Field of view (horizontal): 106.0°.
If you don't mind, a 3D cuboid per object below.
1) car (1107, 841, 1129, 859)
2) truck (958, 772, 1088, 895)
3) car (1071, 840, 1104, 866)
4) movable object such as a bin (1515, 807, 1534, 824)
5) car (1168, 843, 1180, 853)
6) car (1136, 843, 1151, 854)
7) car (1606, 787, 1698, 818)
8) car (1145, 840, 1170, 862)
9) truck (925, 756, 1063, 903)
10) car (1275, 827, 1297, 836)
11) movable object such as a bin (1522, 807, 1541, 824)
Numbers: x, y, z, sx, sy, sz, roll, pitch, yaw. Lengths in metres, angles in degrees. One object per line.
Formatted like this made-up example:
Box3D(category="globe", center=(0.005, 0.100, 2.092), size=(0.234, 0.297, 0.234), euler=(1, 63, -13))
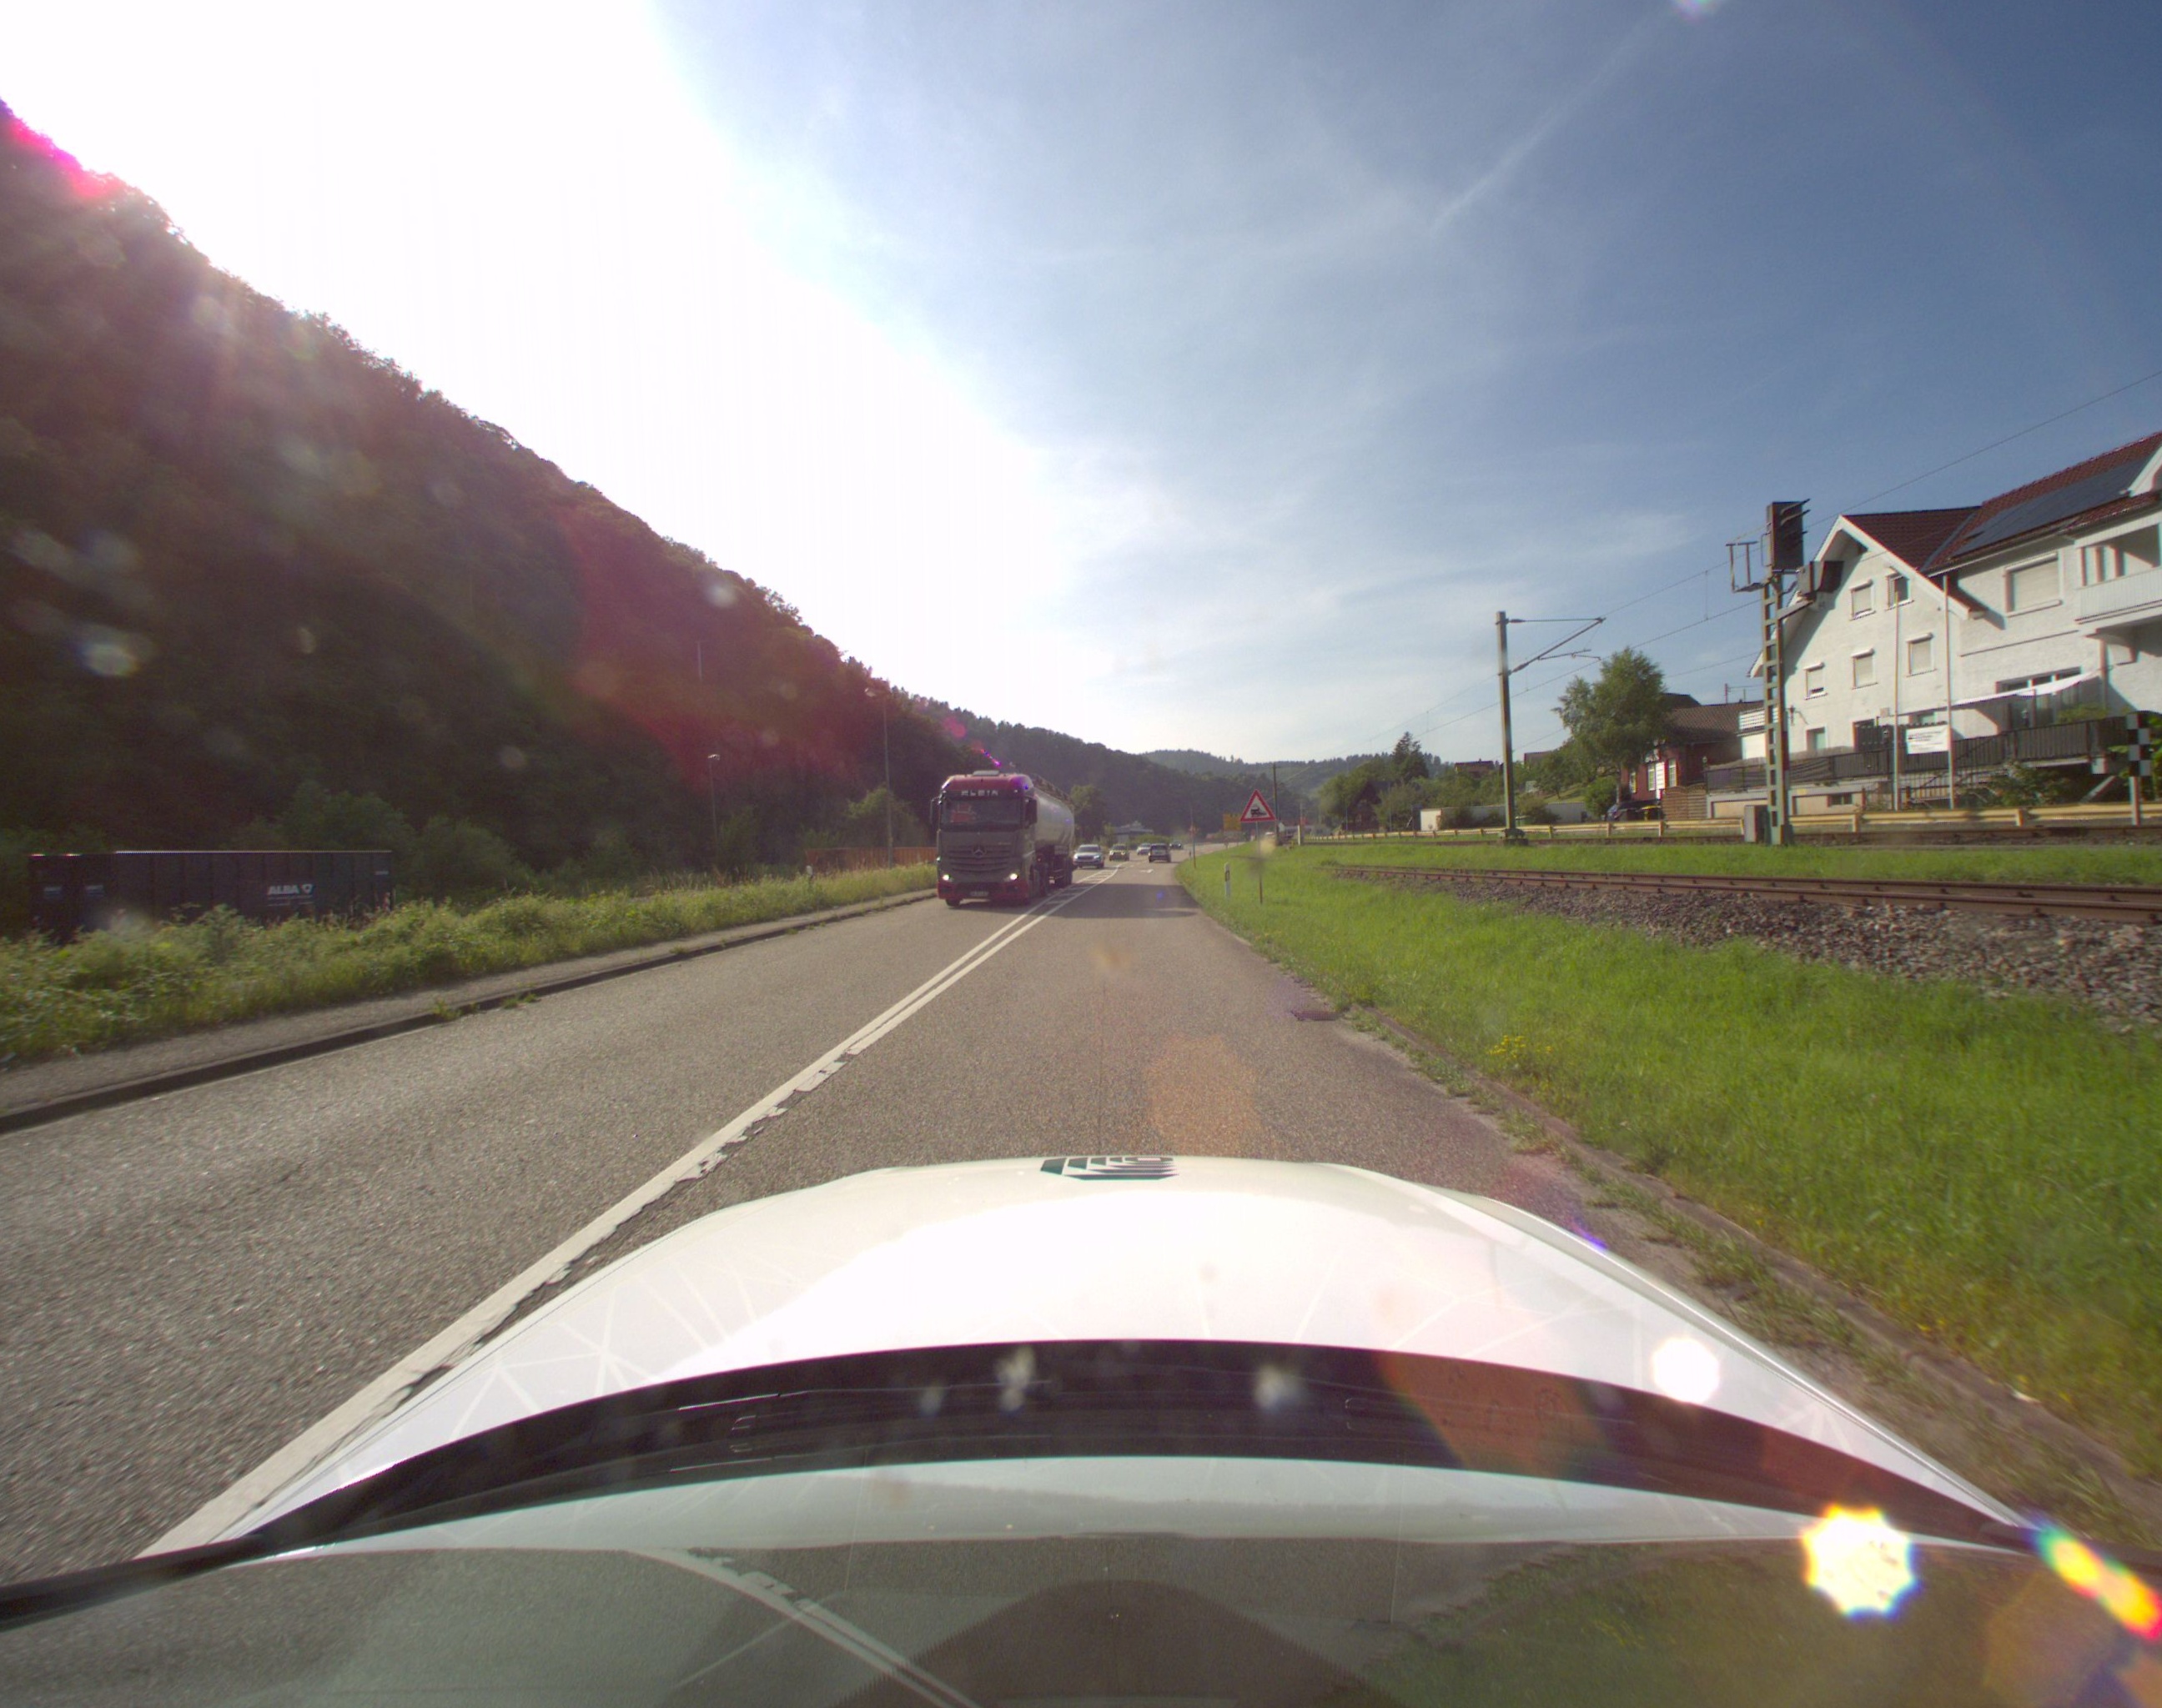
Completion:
Box3D(category="car", center=(3.582, -0.431, 77.883), size=(1.714, 1.624, 3.804), euler=(-1, 1, 7))
Box3D(category="truck", center=(-1.757, -0.716, 32.901), size=(2.736, 3.835, 14.585), euler=(-1, 0, 6))
Box3D(category="car", center=(0.485, -0.084, 56.973), size=(1.984, 1.758, 4.475), euler=(0, 0, 4))
Box3D(category="movable object such as a bin", center=(28.718, -2.488, 52.713), size=(0.803, 1.050, 0.914), euler=(-1, 1, 8))
Box3D(category="car", center=(14.894, -0.995, 130.573), size=(1.837, 1.585, 4.327), euler=(-1, 1, 8))
Box3D(category="car", center=(7.868, -0.688, 102.521), size=(1.769, 1.348, 4.519), euler=(0, 1, 6))
Box3D(category="car", center=(33.252, -2.970, 47.521), size=(3.962, 1.376, 1.831), euler=(-5, 0, 10))
Box3D(category="car", center=(6.724, -0.275, 71.140), size=(1.983, 1.723, 3.998), euler=(-4, 0, 7))
Box3D(category="truck", center=(-2.403, -0.676, 25.680), size=(2.737, 3.835, 8.209), euler=(-1, 0, 5))
Box3D(category="car", center=(53.257, -5.916, 211.475), size=(5.235, 2.013, 2.010), euler=(-4, 0, 18))
Box3D(category="movable object such as a bin", center=(28.607, -2.459, 51.705), size=(0.803, 1.050, 0.914), euler=(-1, 1, 8))
